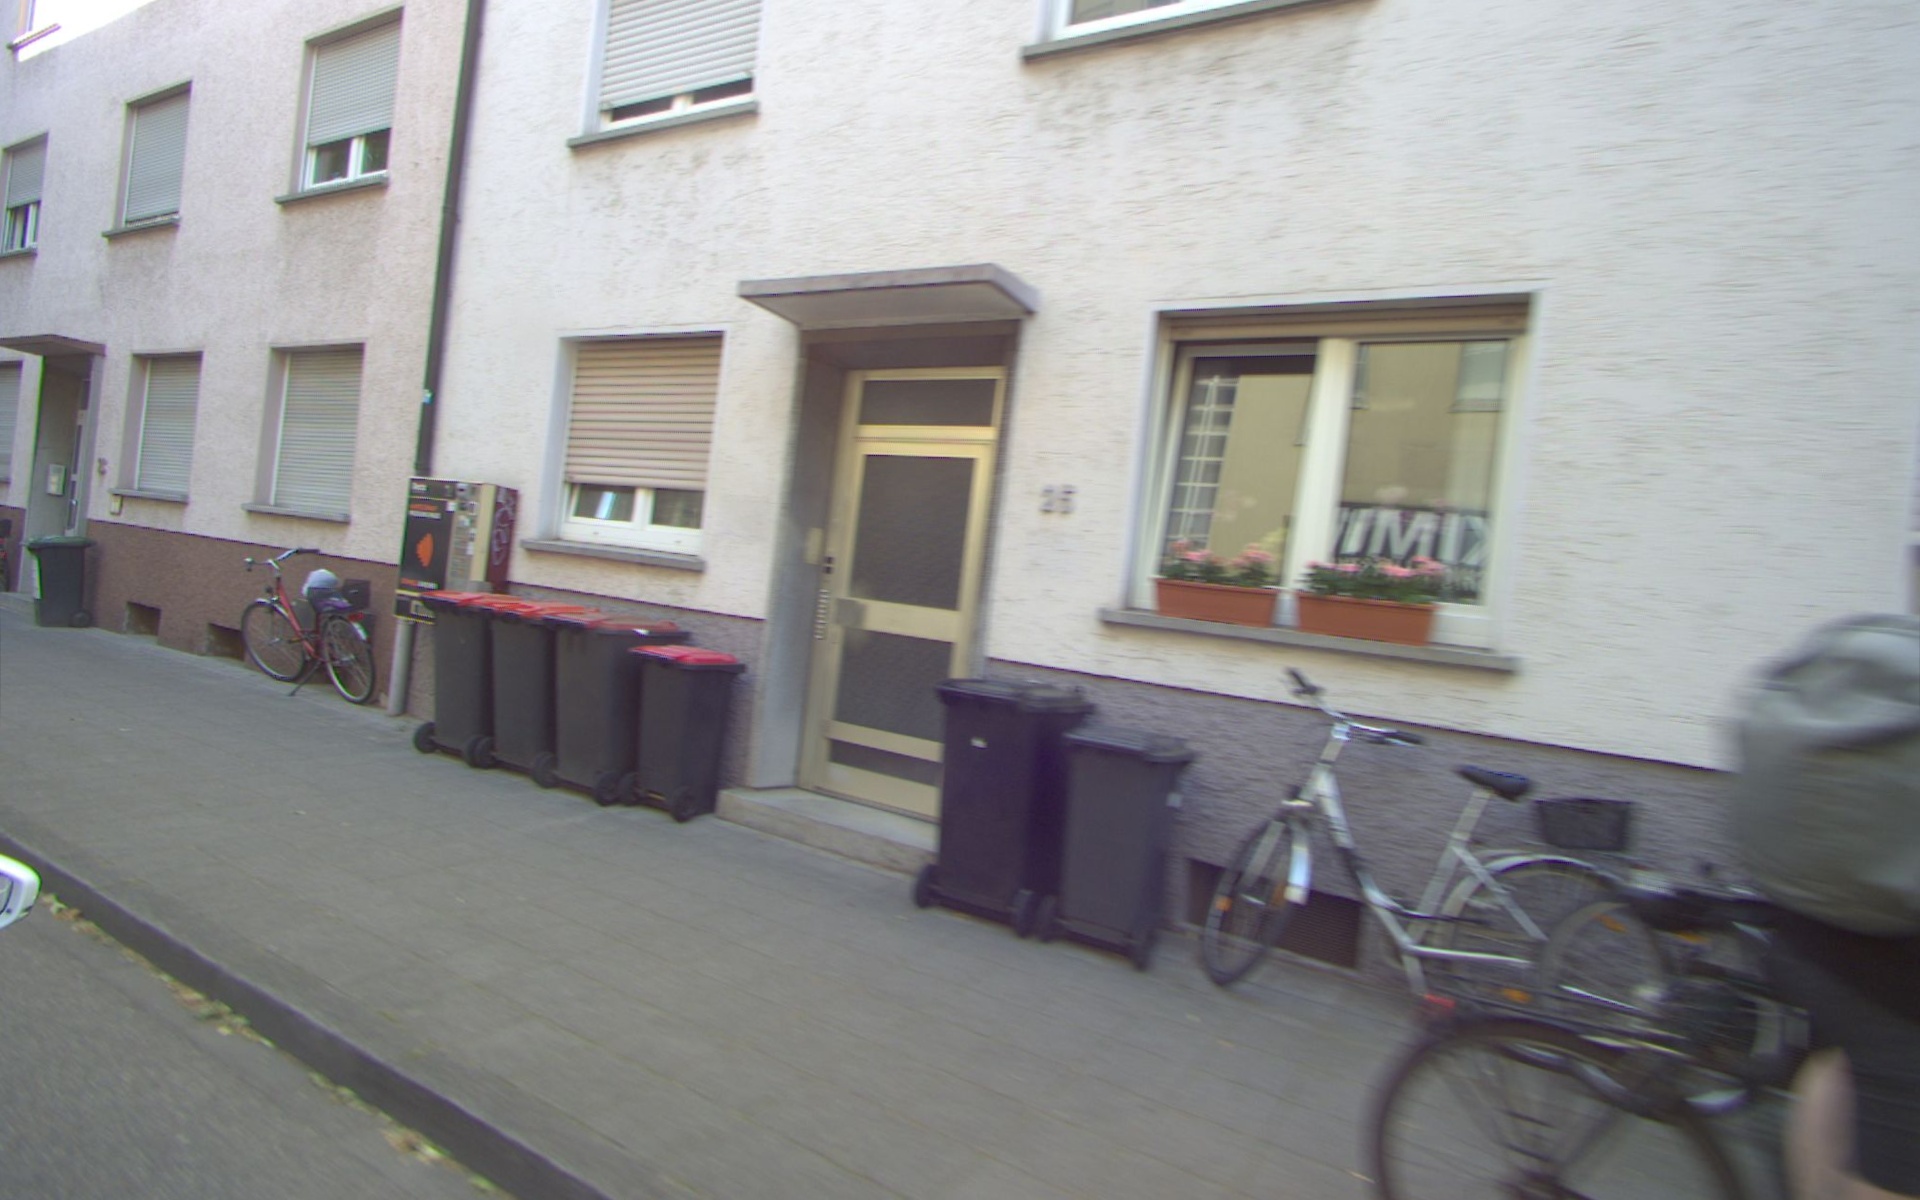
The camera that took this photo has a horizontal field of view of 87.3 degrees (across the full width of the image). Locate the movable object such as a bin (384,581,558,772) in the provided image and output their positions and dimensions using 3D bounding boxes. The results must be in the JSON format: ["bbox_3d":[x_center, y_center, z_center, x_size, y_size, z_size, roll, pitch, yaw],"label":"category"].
[{"bbox_3d":[-3.162,0.471,6.529,0.629,1.112,0.739,6,2,32],"label":"movable object such as a bin"}]

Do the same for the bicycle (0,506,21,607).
[{"bbox_3d":[-11.790,-0.575,11.946,1.888,1.149,0.453,6,2,33],"label":"bicycle"}]

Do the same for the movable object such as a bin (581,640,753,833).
[{"bbox_3d":[-1.645,0.744,5.673,0.595,0.946,0.606,7,0,32],"label":"movable object such as a bin"}]

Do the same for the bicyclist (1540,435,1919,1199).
[{"bbox_3d":[1.569,0.695,1.733,0.808,1.794,0.760,8,3,29],"label":"bicyclist"}]

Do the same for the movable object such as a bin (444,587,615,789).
[{"bbox_3d":[-2.658,0.533,6.238,0.583,1.119,0.657,7,0,32],"label":"movable object such as a bin"}]

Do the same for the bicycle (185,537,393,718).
[{"bbox_3d":[-5.420,0.174,8.076,2.041,1.187,0.536,7,4,31],"label":"bicycle"}]

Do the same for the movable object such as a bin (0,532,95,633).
[{"bbox_3d":[-9.562,-0.178,10.475,0.671,0.963,0.598,6,0,32],"label":"movable object such as a bin"}]

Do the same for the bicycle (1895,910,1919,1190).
[{"bbox_3d":[3.793,1.201,2.424,2.125,1.221,0.405,6,0,35],"label":"bicycle"}]

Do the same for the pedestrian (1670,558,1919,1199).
[{"bbox_3d":[2.322,0.808,2.529,0.677,1.732,0.653,6,0,43],"label":"pedestrian"}]

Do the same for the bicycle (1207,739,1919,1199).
[{"bbox_3d":[1.522,1.022,1.790,1.954,1.152,0.663,7,3,29],"label":"bicycle"}]

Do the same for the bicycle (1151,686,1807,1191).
[{"bbox_3d":[1.696,1.003,3.548,1.839,1.167,0.568,6,0,36],"label":"bicycle"}]

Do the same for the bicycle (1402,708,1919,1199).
[{"bbox_3d":[2.614,1.083,3.002,2.232,1.221,0.437,5,0,38],"label":"bicycle"}]

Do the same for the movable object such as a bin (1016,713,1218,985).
[{"bbox_3d":[0.675,1.009,4.283,0.597,0.937,0.577,6,2,31],"label":"movable object such as a bin"}]

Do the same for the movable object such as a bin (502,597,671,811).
[{"bbox_3d":[-2.197,0.596,5.940,0.560,1.136,0.628,6,0,32],"label":"movable object such as a bin"}]

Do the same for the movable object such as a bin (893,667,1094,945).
[{"bbox_3d":[0.162,0.882,4.573,0.593,1.076,0.616,7,2,31],"label":"movable object such as a bin"}]
